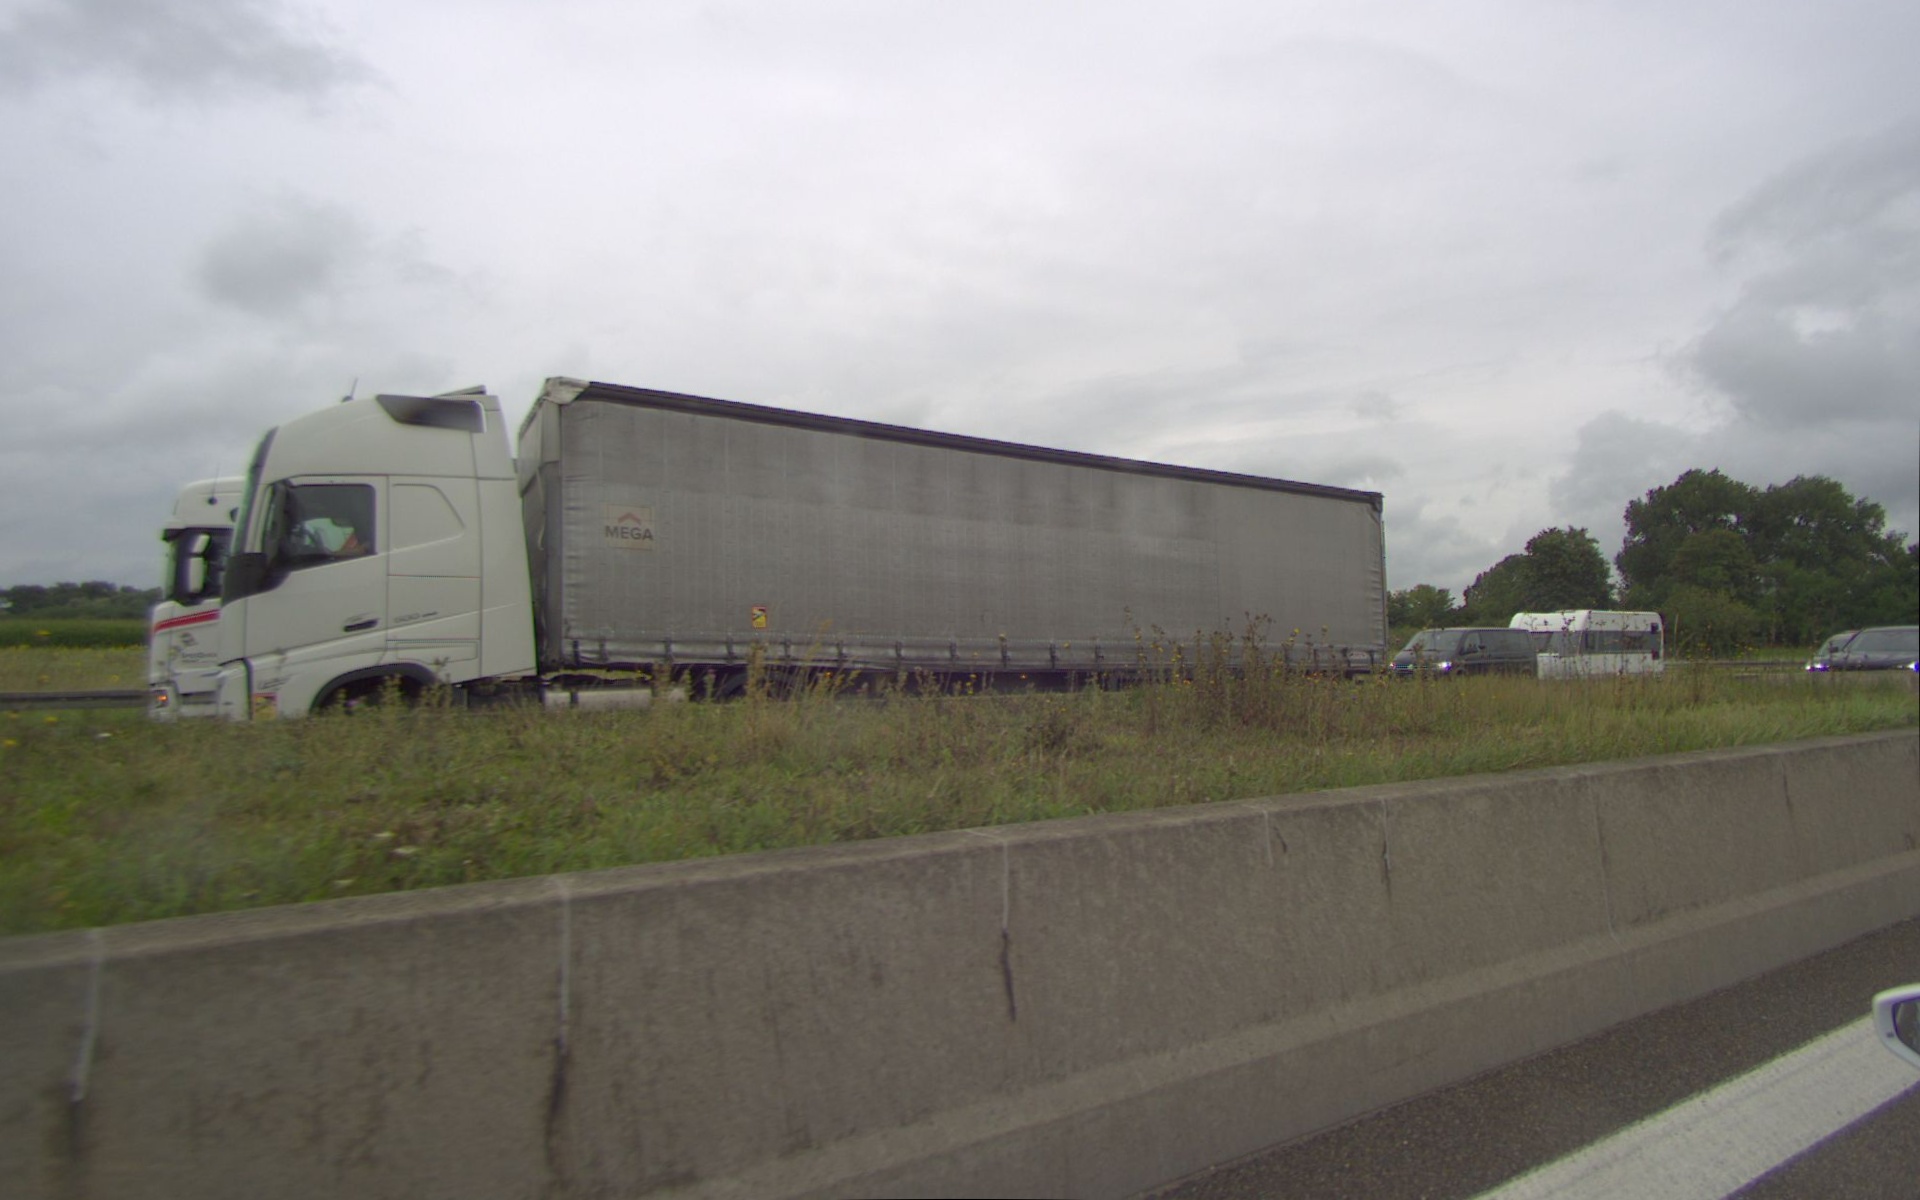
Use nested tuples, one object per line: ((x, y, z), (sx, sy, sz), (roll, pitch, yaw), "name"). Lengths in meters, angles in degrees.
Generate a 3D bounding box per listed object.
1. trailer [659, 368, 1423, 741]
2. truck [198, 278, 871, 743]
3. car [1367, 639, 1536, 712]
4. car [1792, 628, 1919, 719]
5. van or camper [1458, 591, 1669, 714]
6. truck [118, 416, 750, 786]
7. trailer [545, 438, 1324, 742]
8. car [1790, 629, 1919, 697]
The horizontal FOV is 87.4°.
((1.926, -0.322, 15.574), (12.186, 4.143, 3.071), (2, 0, -30), "trailer")
((-4.575, -0.692, 11.630), (6.297, 4.028, 3.078), (2, 0, -30), "truck")
((14.059, 2.081, 28.651), (5.083, 1.777, 2.077), (1, 1, -35), "car")
((20.592, 1.540, 22.064), (5.012, 1.787, 1.984), (1, -2, -31), "car")
((19.537, 1.627, 32.369), (7.617, 3.550, 2.693), (2, 0, -33), "van or camper")
((-7.430, 0.111, 15.218), (7.502, 4.331, 3.598), (2, 0, -30), "truck")
((0.385, 0.084, 19.795), (15.441, 4.328, 3.695), (2, 0, -30), "trailer")
((27.576, 1.868, 30.604), (5.217, 1.950, 1.874), (1, -2, -31), "car")
